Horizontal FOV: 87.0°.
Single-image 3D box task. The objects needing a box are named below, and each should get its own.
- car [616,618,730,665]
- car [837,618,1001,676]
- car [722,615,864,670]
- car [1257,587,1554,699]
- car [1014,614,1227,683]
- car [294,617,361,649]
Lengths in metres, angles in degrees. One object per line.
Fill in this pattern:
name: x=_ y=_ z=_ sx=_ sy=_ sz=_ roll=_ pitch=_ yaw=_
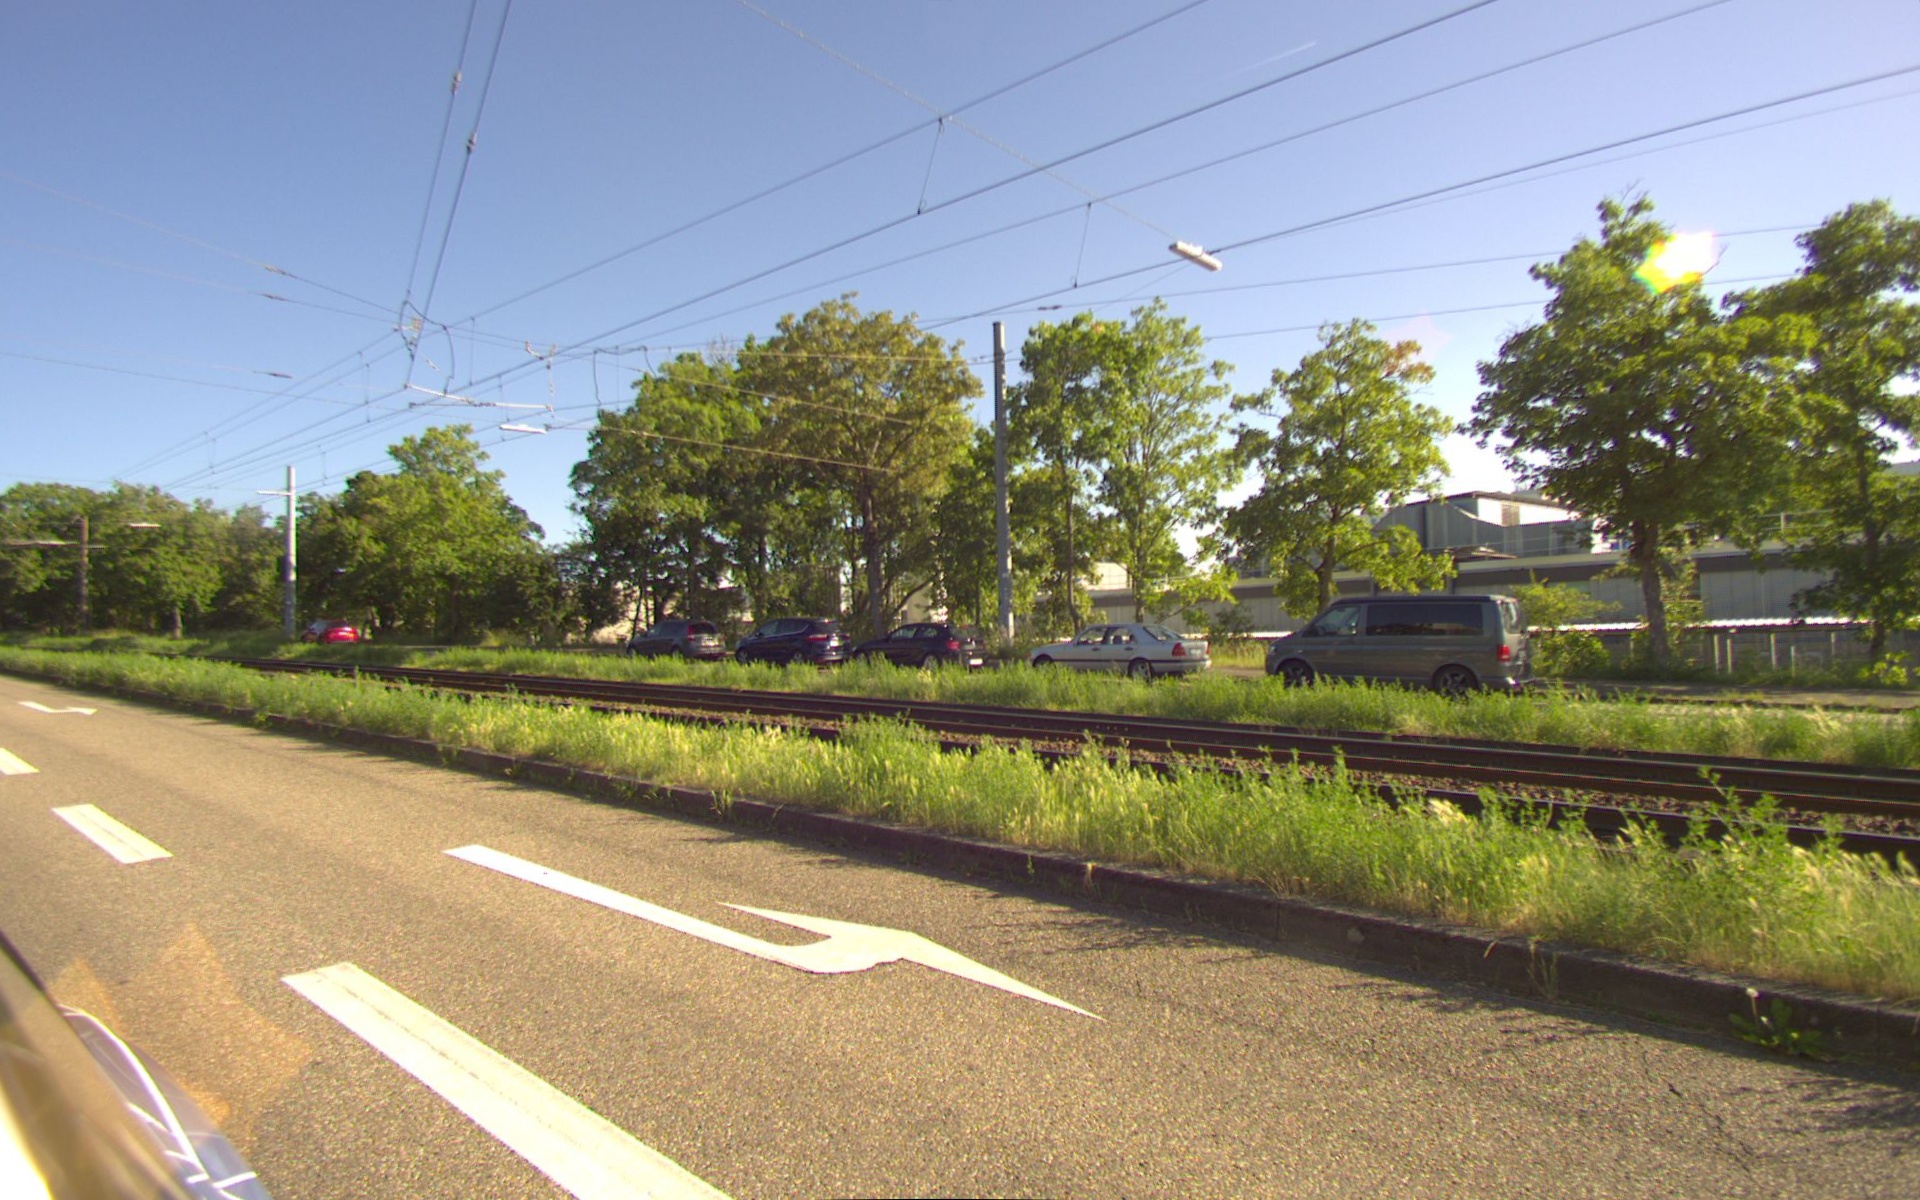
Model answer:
car: x=-10.247 y=1.436 z=36.029 sx=4.323 sy=1.505 sz=1.718 roll=-1 pitch=0 yaw=39
car: x=-1.190 y=1.280 z=28.104 sx=4.412 sy=1.448 sz=1.973 roll=-2 pitch=-2 yaw=41
car: x=-5.265 y=1.305 z=31.584 sx=4.431 sy=1.586 sz=1.974 roll=-2 pitch=-2 yaw=40
car: x=8.499 y=0.792 z=19.590 sx=4.791 sy=1.905 sz=2.173 roll=-2 pitch=-1 yaw=43
car: x=3.713 y=1.120 z=23.961 sx=4.692 sy=1.448 sz=1.908 roll=-2 pitch=-2 yaw=41
car: x=-36.163 y=1.883 z=57.855 sx=4.463 sy=1.715 sz=1.984 roll=-2 pitch=-1 yaw=40
